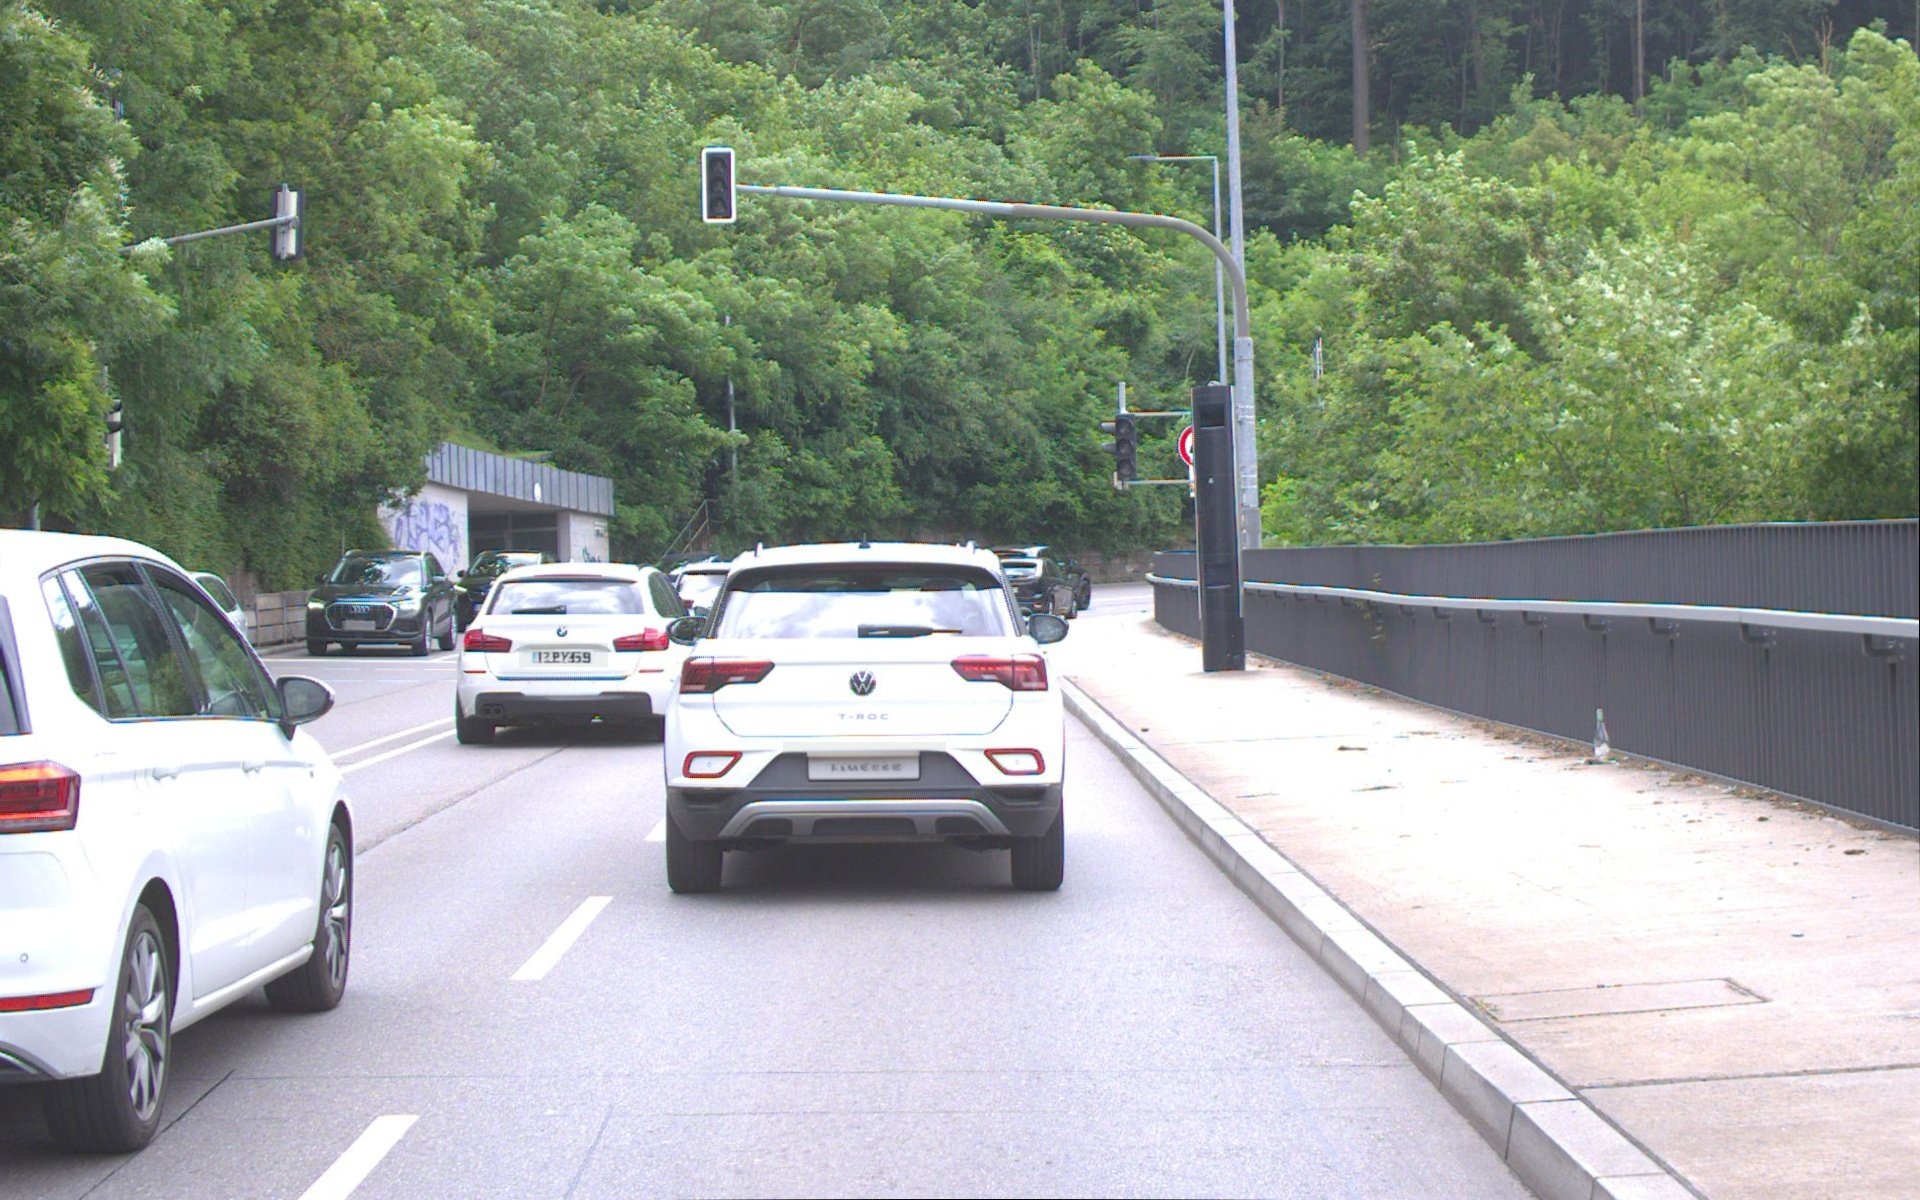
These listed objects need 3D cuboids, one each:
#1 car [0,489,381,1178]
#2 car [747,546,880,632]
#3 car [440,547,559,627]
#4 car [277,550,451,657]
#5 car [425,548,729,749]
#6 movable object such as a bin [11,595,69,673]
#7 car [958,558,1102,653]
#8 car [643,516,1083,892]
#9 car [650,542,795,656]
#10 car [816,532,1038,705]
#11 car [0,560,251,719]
[{"bbox_3d":[-2.843,0.510,9.865,1.720,1.549,4.276,0,1,-1],"label":"car"},{"bbox_3d":[-3.032,-0.245,72.058,1.994,1.735,3.998,0,0,10],"label":"car"},{"bbox_3d":[-8.916,-0.279,66.821,1.781,1.477,4.212,1,1,-1],"label":"car"},{"bbox_3d":[-9.161,0.040,53.151,1.942,1.543,4.249,-1,0,0],"label":"car"},{"bbox_3d":[-3.121,0.349,28.951,1.993,1.552,4.681,0,1,0],"label":"car"},{"bbox_3d":[-12.698,0.463,47.473,0.641,1.063,0.557,1,0,-2],"label":"movable object such as a bin"},{"bbox_3d":[1.583,0.124,76.297,1.995,2.007,3.996,1,0,20],"label":"car"},{"bbox_3d":[-0.487,0.436,16.400,1.813,1.534,4.009,-1,0,-2],"label":"car"},{"bbox_3d":[-3.498,-0.025,51.284,1.862,1.589,4.000,1,0,0],"label":"car"},{"bbox_3d":[-0.310,0.193,39.187,1.994,1.837,4.149,1,0,7],"label":"car"},{"bbox_3d":[-8.828,0.370,36.476,1.676,1.437,4.233,1,2,1],"label":"car"}]
